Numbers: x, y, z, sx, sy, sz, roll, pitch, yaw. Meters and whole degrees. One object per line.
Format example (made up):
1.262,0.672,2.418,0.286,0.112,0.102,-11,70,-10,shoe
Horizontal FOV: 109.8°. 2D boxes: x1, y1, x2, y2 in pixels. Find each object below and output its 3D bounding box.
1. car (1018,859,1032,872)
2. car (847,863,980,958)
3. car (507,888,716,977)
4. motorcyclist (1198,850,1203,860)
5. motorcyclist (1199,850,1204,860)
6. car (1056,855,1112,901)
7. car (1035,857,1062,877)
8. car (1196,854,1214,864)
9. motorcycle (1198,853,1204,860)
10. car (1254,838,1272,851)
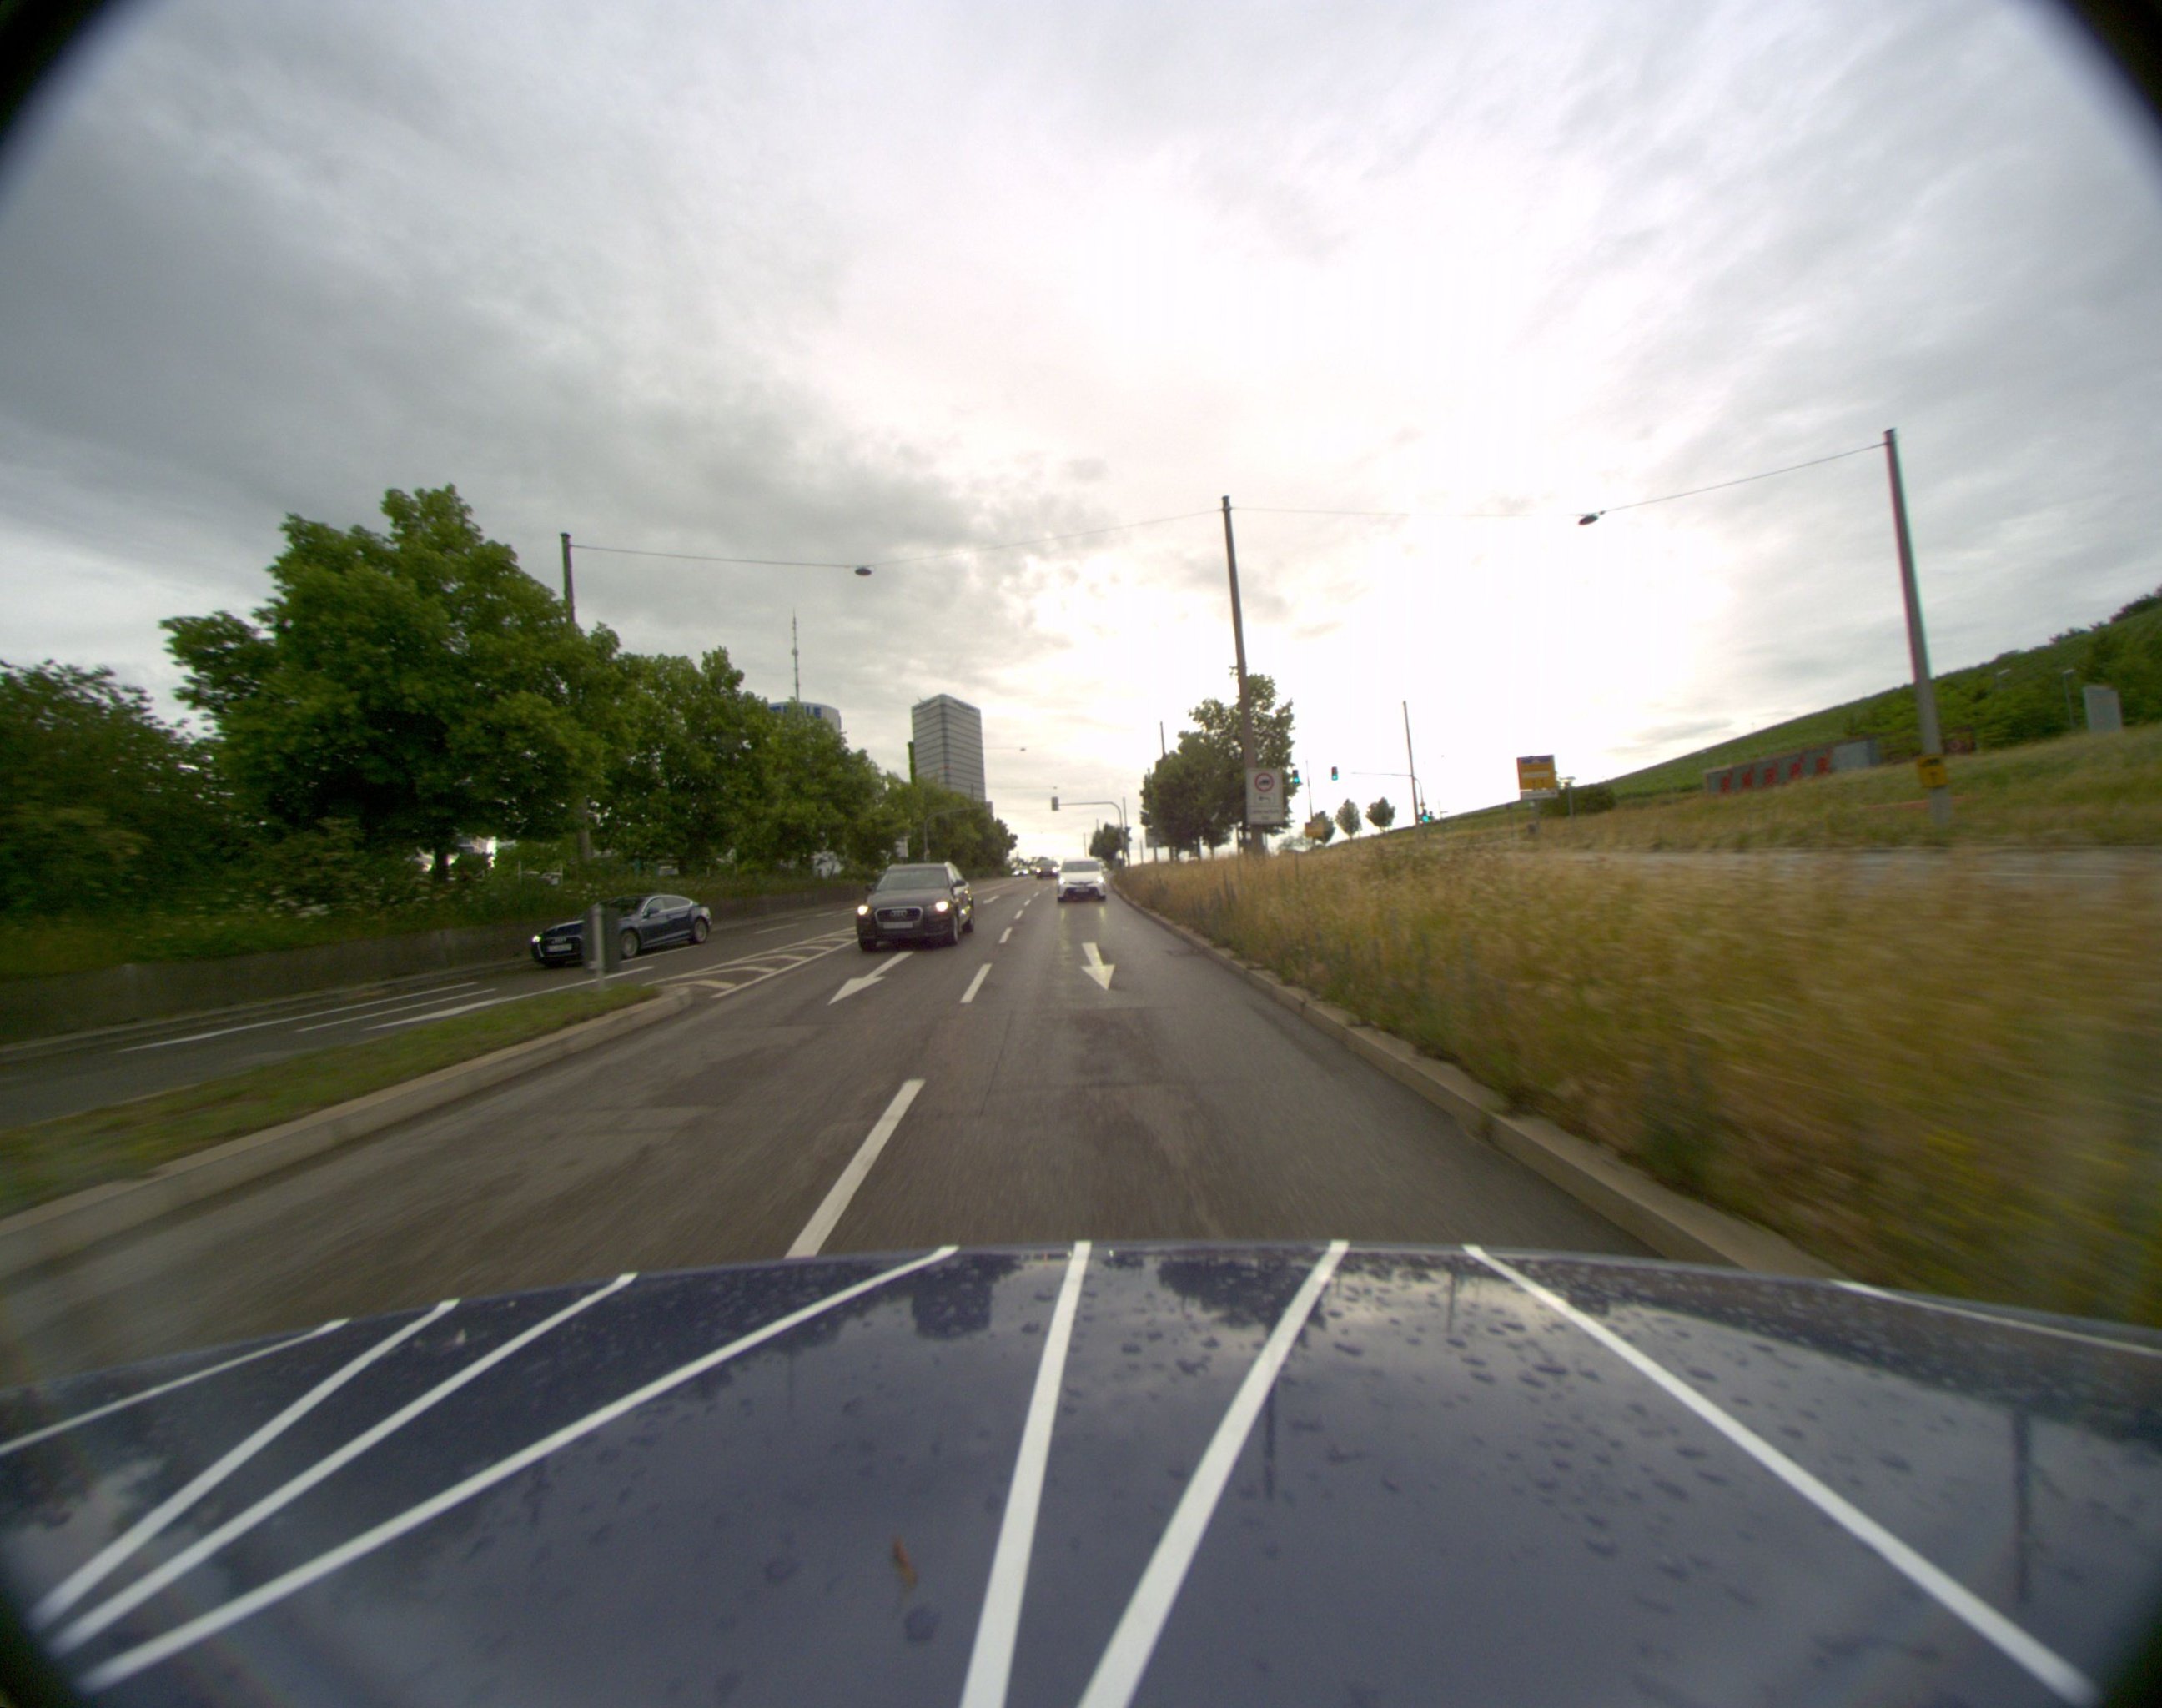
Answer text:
-7.568,1.608,102.531,1.636,1.466,3.676,-3,-3,-7,car
-3.222,1.013,15.417,1.730,1.525,4.126,-4,0,-1,car
-10.460,1.676,17.399,1.876,1.417,4.348,-4,1,2,car
19.893,0.141,126.325,0.583,1.586,0.643,-4,-1,2,motorcyclist
19.881,0.134,125.670,0.613,1.572,0.582,-4,-1,2,motorcyclist
0.188,0.828,28.461,1.826,1.574,4.299,-1,0,4,car
-2.557,1.030,60.516,1.729,1.463,4.265,-3,-1,1,car
22.432,0.917,137.043,1.539,1.495,3.668,-4,0,37,car
19.909,0.476,126.215,0.618,1.043,2.503,-4,-1,2,motorcycle
20.713,-1.080,86.518,1.541,1.381,3.929,-4,0,8,car
